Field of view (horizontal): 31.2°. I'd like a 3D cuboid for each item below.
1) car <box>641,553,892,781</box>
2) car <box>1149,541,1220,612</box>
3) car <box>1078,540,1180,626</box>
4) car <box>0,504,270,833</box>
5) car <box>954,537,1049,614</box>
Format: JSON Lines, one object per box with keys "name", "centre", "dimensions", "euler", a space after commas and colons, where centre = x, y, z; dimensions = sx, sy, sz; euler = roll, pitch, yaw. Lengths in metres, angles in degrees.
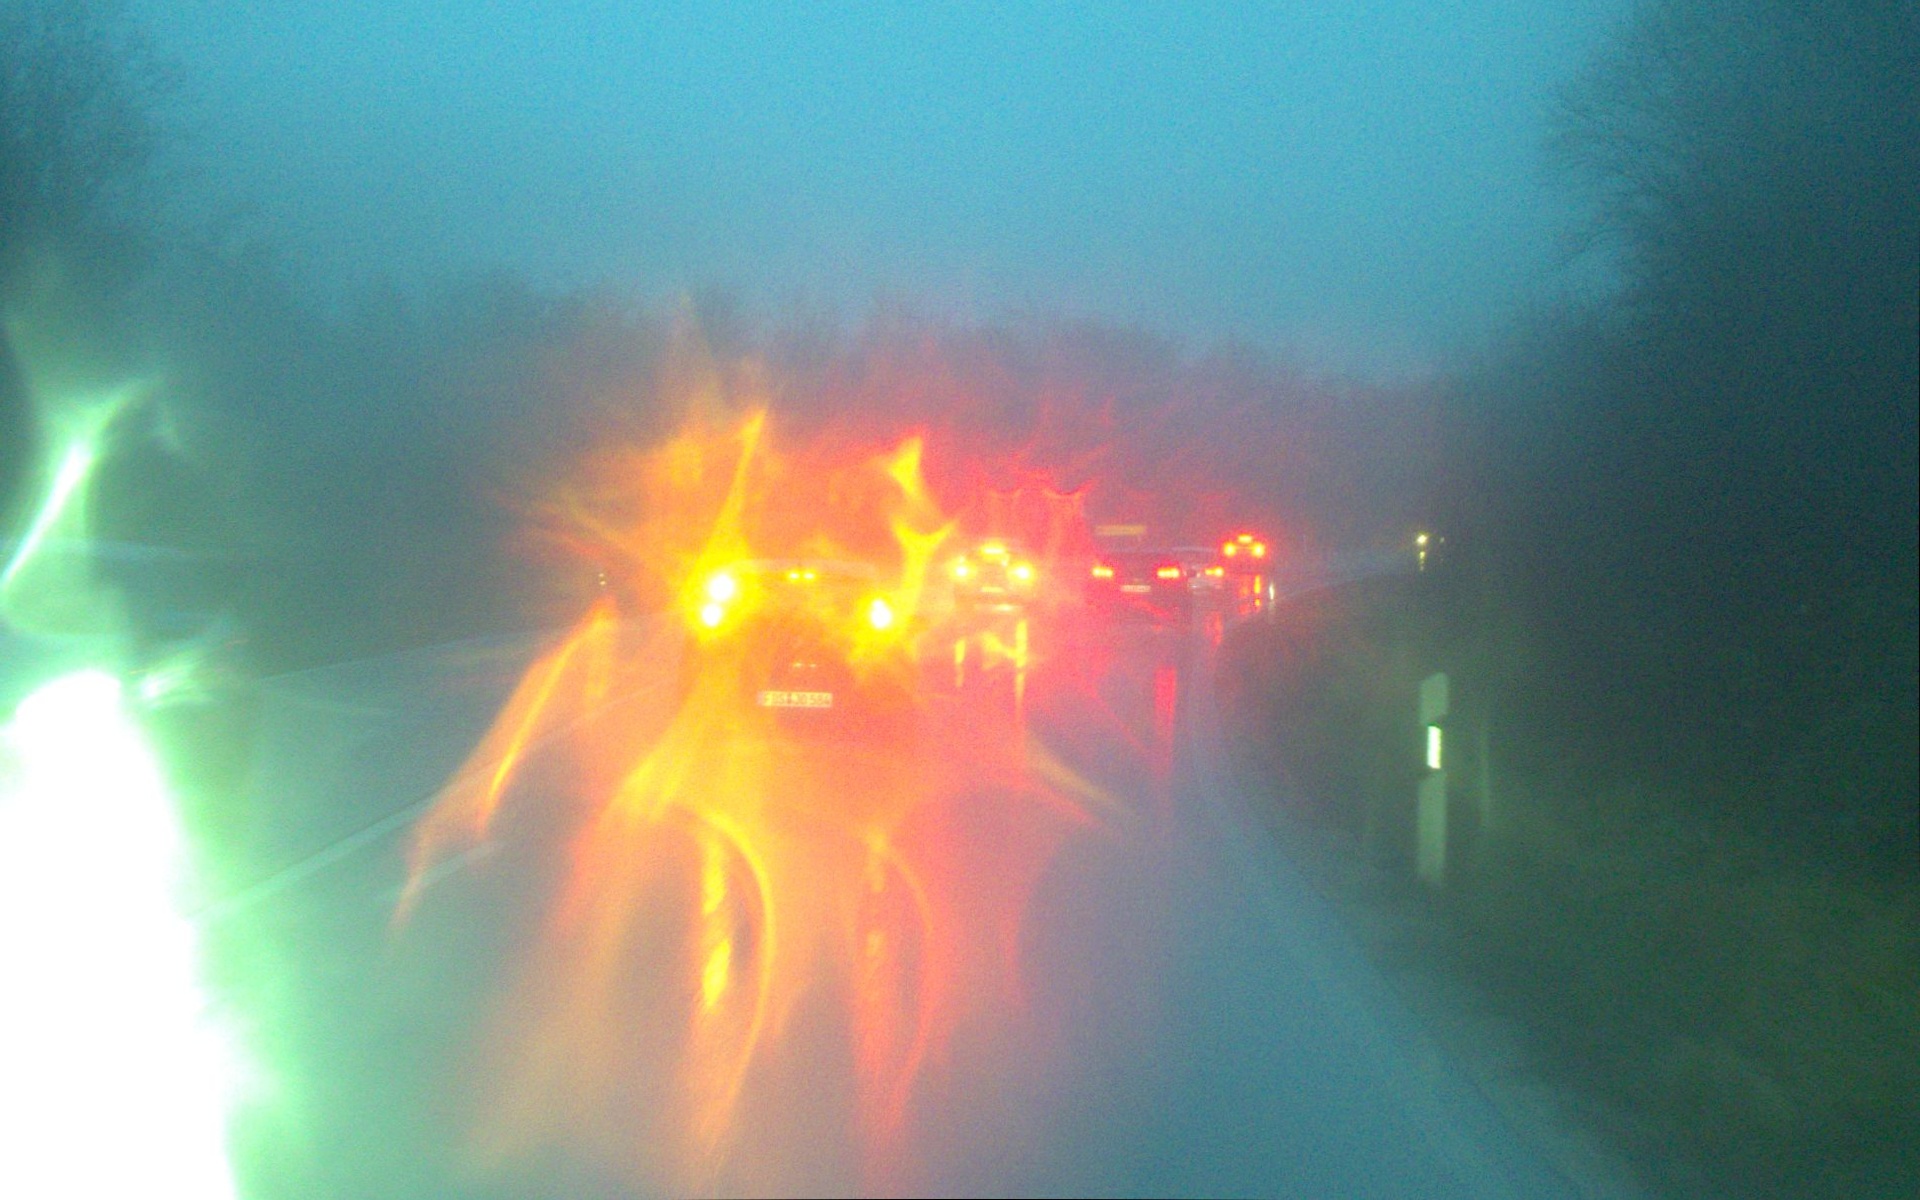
{"name": "car", "centre": [-1.379, 0.429, 25.433], "dimensions": [1.632, 1.416, 4.172], "euler": [3, 1, -2]}
{"name": "car", "centre": [5.663, -0.624, 87.129], "dimensions": [1.679, 1.669, 4.098], "euler": [1, 2, 2]}
{"name": "car", "centre": [2.940, -0.323, 60.484], "dimensions": [1.679, 1.385, 4.098], "euler": [1, 2, 1]}
{"name": "car", "centre": [-4.863, 0.260, 17.934], "dimensions": [1.764, 1.492, 4.103], "euler": [2, 1, -2]}
{"name": "car", "centre": [0.908, -0.579, 77.275], "dimensions": [2.005, 1.550, 4.517], "euler": [2, 1, 0]}
